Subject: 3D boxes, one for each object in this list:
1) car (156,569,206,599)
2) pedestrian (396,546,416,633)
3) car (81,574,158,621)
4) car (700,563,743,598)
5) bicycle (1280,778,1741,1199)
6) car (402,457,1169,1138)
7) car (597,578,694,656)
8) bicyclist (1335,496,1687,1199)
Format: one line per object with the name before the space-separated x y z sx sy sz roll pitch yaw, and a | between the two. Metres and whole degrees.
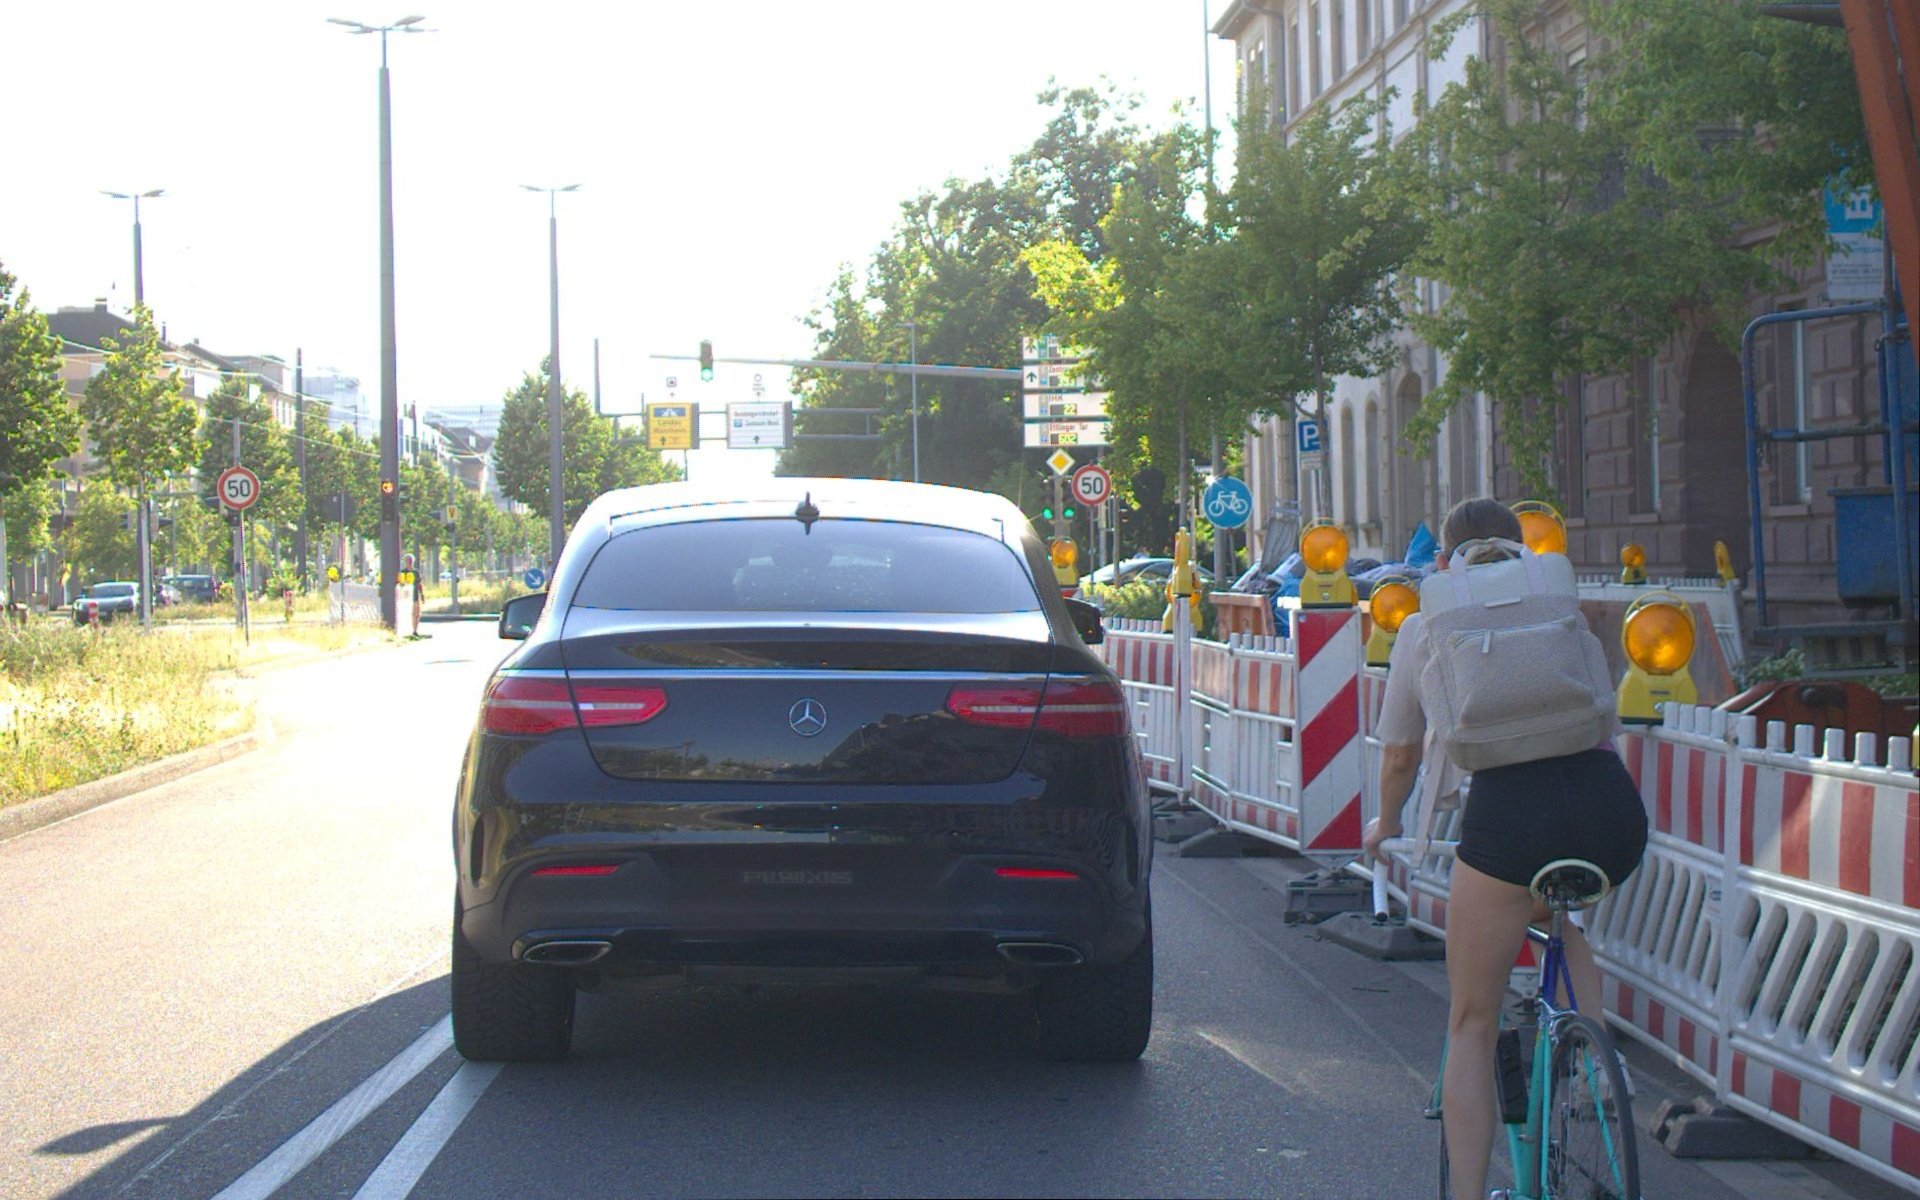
car | -37.536 -0.777 165.775 1.708 1.437 3.583 0 1 -2
pedestrian | -11.258 -0.217 69.876 0.334 1.757 0.418 0 0 -2
car | -26.750 -0.085 109.540 1.708 1.437 3.583 0 1 -2
car | -9.983 -0.828 144.037 1.708 1.437 3.583 0 1 -2
bicycle | 0.995 0.920 6.570 0.512 1.048 1.725 0 1 -3
car | -0.467 0.496 10.997 1.993 1.766 4.000 1 1 0
car | -6.149 0.311 67.539 1.708 1.437 3.583 0 1 -2
bicyclist | 1.019 0.508 6.451 0.522 1.391 0.615 0 0 -3
